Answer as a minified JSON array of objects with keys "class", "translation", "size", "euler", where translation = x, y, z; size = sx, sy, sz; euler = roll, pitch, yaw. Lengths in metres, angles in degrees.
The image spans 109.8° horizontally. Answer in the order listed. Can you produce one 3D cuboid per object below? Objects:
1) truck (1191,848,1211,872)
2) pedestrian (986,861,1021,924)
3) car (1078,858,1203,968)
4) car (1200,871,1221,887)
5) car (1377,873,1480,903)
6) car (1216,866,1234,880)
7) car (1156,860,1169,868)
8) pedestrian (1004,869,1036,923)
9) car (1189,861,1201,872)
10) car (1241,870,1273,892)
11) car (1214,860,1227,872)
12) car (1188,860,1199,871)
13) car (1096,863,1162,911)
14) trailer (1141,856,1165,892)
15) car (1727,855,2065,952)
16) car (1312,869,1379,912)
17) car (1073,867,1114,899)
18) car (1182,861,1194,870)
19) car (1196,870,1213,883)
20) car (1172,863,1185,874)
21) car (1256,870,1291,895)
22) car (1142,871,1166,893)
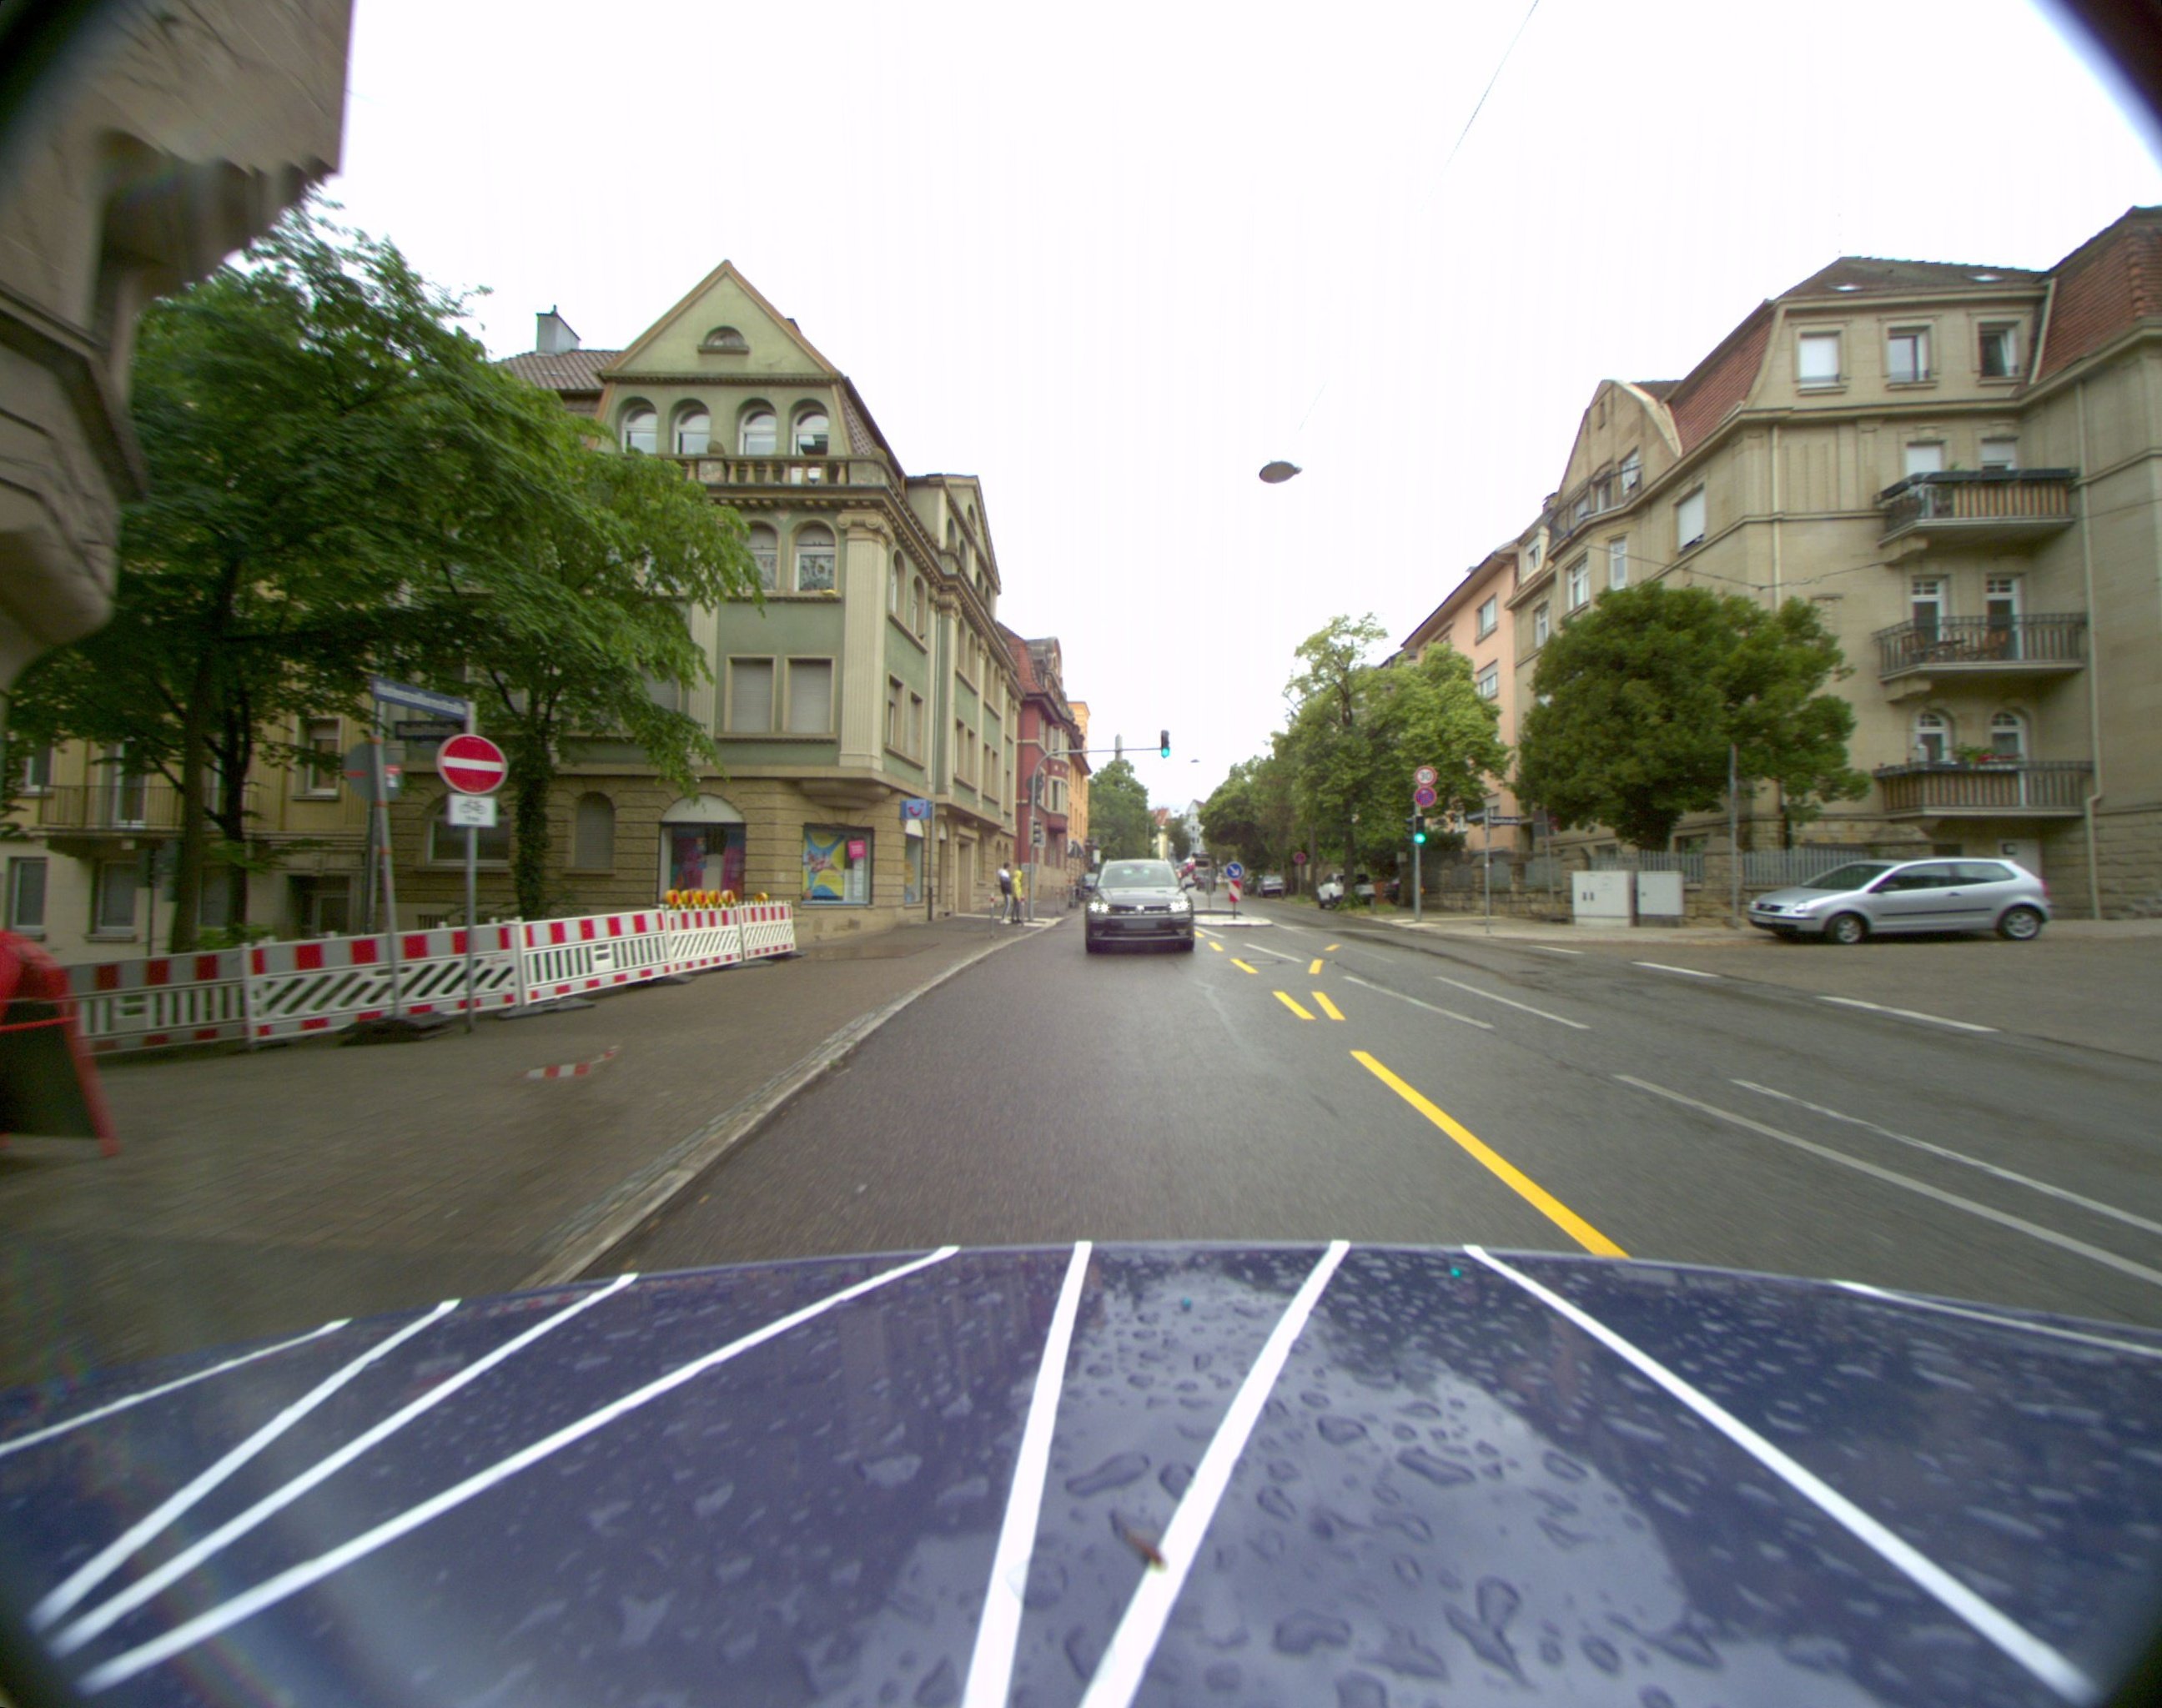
[{"class":"truck","translation":[20.335,1.052,129.076],"size":[2.653,3.832,9.311],"euler":[2,0,5]},{"class":"pedestrian","translation":[-2.216,1.100,21.803],"size":[0.664,1.763,0.721],"euler":[2,-1,22]},{"class":"car","translation":[1.086,0.925,13.981],"size":[1.859,1.641,5.197],"euler":[0,-1,4]},{"class":"car","translation":[13.301,2.589,78.157],"size":[1.819,1.508,4.552],"euler":[1,-2,6]},{"class":"car","translation":[16.088,1.568,35.324],"size":[3.995,1.318,1.838],"euler":[0,-1,5]},{"class":"car","translation":[18.144,2.356,96.070],"size":[1.745,1.550,4.303],"euler":[-2,0,4]},{"class":"car","translation":[15.652,1.910,145.737],"size":[1.923,1.552,4.016],"euler":[3,1,10]},{"class":"pedestrian","translation":[-1.818,1.236,22.520],"size":[0.663,1.575,0.600],"euler":[1,-1,35]},{"class":"car","translation":[17.101,1.869,113.967],"size":[1.775,1.458,4.752],"euler":[-1,-1,9]},{"class":"car","translation":[14.254,2.192,61.817],"size":[1.745,1.550,4.303],"euler":[-3,0,3]},{"class":"car","translation":[22.265,1.891,121.211],"size":[1.999,1.586,3.831],"euler":[-4,0,11]},{"class":"car","translation":[20.562,2.104,138.260],"size":[1.654,1.698,4.117],"euler":[2,1,12]},{"class":"car","translation":[1.981,1.242,30.035],"size":[1.923,1.641,4.490],"euler":[-2,0,12]},{"class":"trailer","translation":[6.372,1.710,66.855],"size":[1.966,3.023,2.366],"euler":[-2,0,5]},{"class":"car","translation":[14.678,0.878,13.943],"size":[3.869,1.401,1.827],"euler":[-4,1,11]},{"class":"car","translation":[11.216,1.507,32.497],"size":[1.745,1.550,4.304],"euler":[-2,0,6]},{"class":"car","translation":[0.798,1.618,44.104],"size":[1.880,1.620,4.700],"euler":[3,0,6]},{"class":"car","translation":[17.677,1.888,125.188],"size":[1.714,1.471,4.118],"euler":[2,0,12]},{"class":"car","translation":[16.205,2.974,99.531],"size":[1.776,1.508,4.592],"euler":[2,0,5]},{"class":"car","translation":[13.921,2.008,108.620],"size":[1.775,1.508,4.102],"euler":[0,0,9]},{"class":"car","translation":[13.535,1.960,53.669],"size":[1.745,1.550,4.304],"euler":[-2,0,6]},{"class":"car","translation":[6.095,2.325,63.584],"size":[1.924,1.641,4.136],"euler":[-2,0,5]}]
